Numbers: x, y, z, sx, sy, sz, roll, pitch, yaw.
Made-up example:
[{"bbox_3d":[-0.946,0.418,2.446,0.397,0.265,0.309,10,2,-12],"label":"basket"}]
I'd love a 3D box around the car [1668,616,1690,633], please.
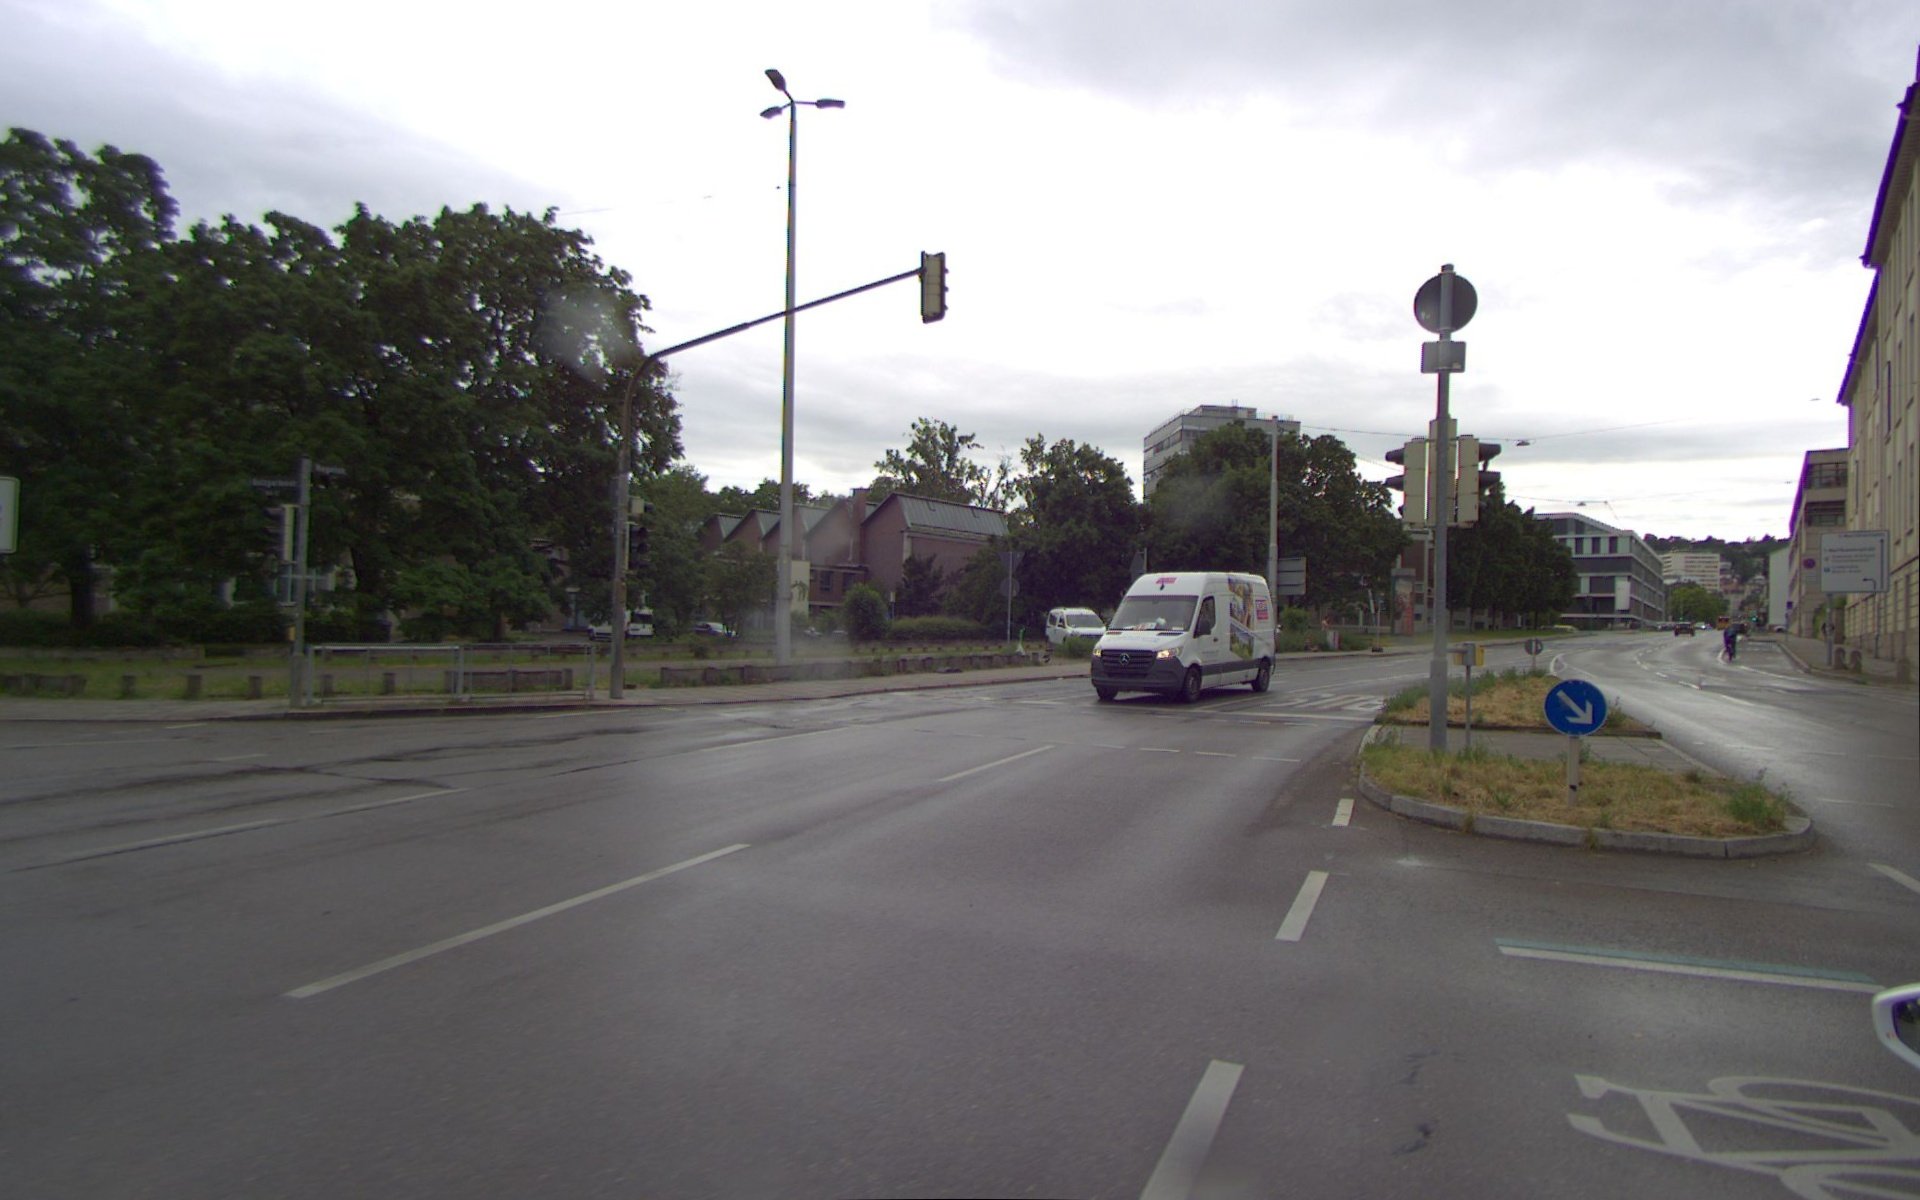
[{"bbox_3d":[81.245,2.740,113.531,1.869,1.647,3.630,2,2,38],"label":"car"}]

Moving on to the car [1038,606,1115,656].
[{"bbox_3d":[4.431,1.172,38.836,1.801,1.791,4.499,1,-1,-9],"label":"car"}]

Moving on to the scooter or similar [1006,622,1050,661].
[{"bbox_3d":[2.130,1.295,31.379,1.232,1.183,0.551,1,1,-13],"label":"scooter or similar"}]

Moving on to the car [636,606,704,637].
[{"bbox_3d":[-20.920,1.514,72.287,5.002,2.049,2.277,2,1,40],"label":"car"}]

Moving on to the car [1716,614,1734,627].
[{"bbox_3d":[104.788,2.836,137.601,1.817,1.581,3.981,2,2,39],"label":"car"}]

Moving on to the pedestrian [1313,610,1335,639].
[{"bbox_3d":[20.772,1.385,57.356,0.949,1.592,0.797,1,1,-41],"label":"pedestrian"}]

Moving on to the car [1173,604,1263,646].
[{"bbox_3d":[11.826,1.116,46.286,1.810,1.792,3.973,1,0,-26],"label":"car"}]

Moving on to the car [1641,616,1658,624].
[{"bbox_3d":[114.267,3.268,166.438,1.818,1.252,3.397,2,2,42],"label":"car"}]

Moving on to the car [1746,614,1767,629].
[{"bbox_3d":[94.723,2.519,119.459,1.817,1.581,3.981,2,2,39],"label":"car"}]

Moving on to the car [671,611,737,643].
[{"bbox_3d":[-19.067,1.975,74.745,5.003,2.102,2.277,2,1,41],"label":"car"}]

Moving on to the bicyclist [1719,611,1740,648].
[{"bbox_3d":[35.036,1.337,45.765,0.691,1.654,1.124,2,1,37],"label":"bicyclist"}]

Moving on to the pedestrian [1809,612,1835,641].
[{"bbox_3d":[54.959,1.674,64.038,1.226,1.812,1.586,-2,-2,42],"label":"pedestrian"}]

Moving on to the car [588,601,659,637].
[{"bbox_3d":[-22.939,1.266,68.403,5.002,2.208,2.277,2,1,40],"label":"car"}]

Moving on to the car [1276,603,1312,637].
[{"bbox_3d":[18.440,1.139,55.547,1.817,1.765,4.077,1,-2,17],"label":"car"}]

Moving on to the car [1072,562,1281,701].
[{"bbox_3d":[4.764,0.654,21.240,2.032,2.527,6.017,-1,-2,36],"label":"car"}]

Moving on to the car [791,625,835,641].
[{"bbox_3d":[-11.946,2.671,81.577,3.502,1.158,1.585,2,1,40],"label":"car"}]

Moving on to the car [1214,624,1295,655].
[{"bbox_3d":[13.957,1.847,47.832,1.810,1.236,3.475,2,1,-26],"label":"car"}]

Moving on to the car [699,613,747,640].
[{"bbox_3d":[-18.834,2.083,79.868,1.986,2.040,3.949,1,1,-43],"label":"car"}]

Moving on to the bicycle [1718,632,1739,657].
[{"bbox_3d":[34.988,2.019,45.718,0.637,1.070,1.816,1,-1,34],"label":"bicycle"}]

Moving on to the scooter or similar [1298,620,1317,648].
[{"bbox_3d":[16.547,1.609,47.832,0.452,1.283,0.971,2,1,43],"label":"scooter or similar"}]

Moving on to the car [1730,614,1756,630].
[{"bbox_3d":[81.855,2.282,104.945,1.818,1.581,3.978,2,2,42],"label":"car"}]
